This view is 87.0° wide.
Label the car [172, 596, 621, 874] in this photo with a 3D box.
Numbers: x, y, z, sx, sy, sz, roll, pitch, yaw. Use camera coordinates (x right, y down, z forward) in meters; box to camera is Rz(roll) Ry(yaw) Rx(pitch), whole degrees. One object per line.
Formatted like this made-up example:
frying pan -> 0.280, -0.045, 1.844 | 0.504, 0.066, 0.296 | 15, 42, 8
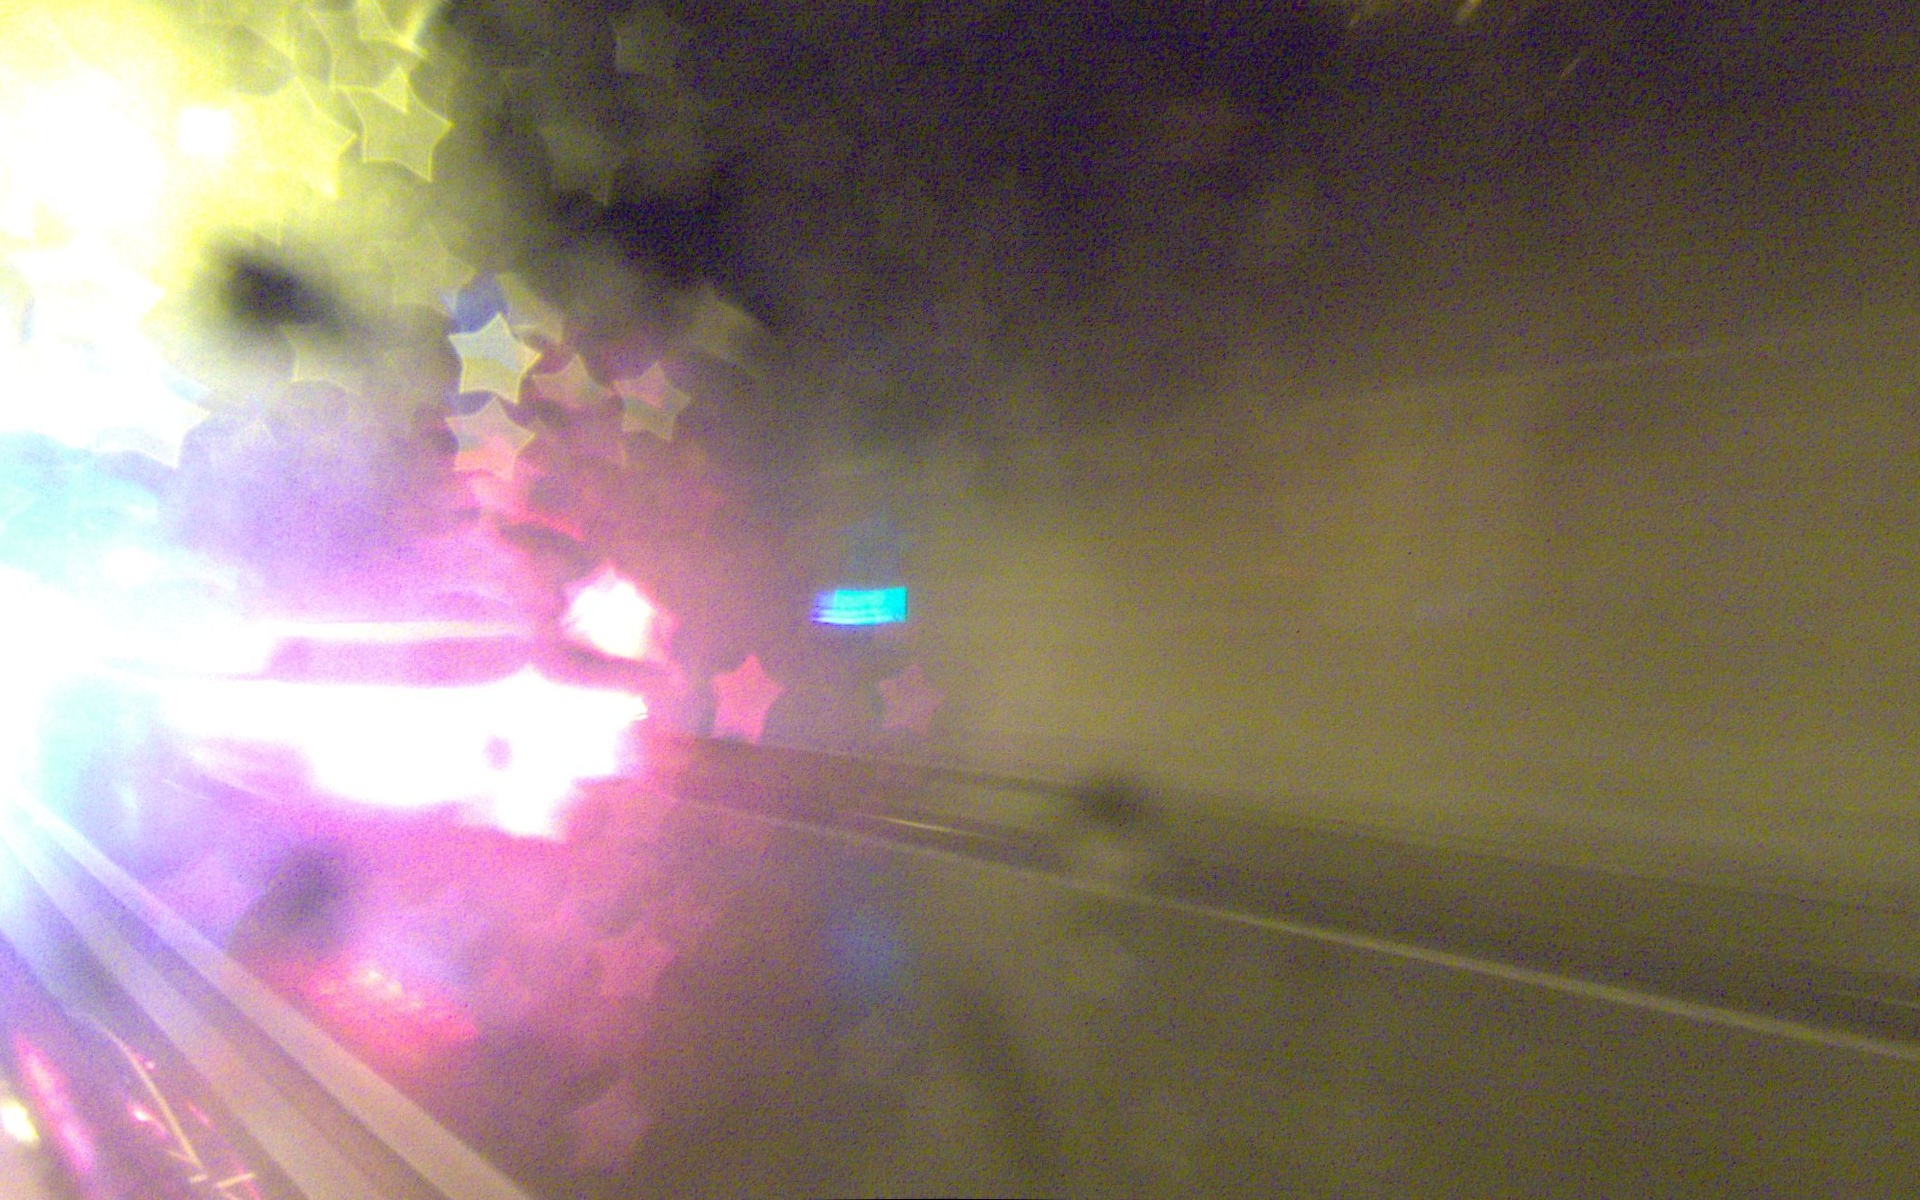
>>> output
car -> -4.367, 0.771, 7.546 | 4.135, 1.529, 1.604 | -1, -1, 41
